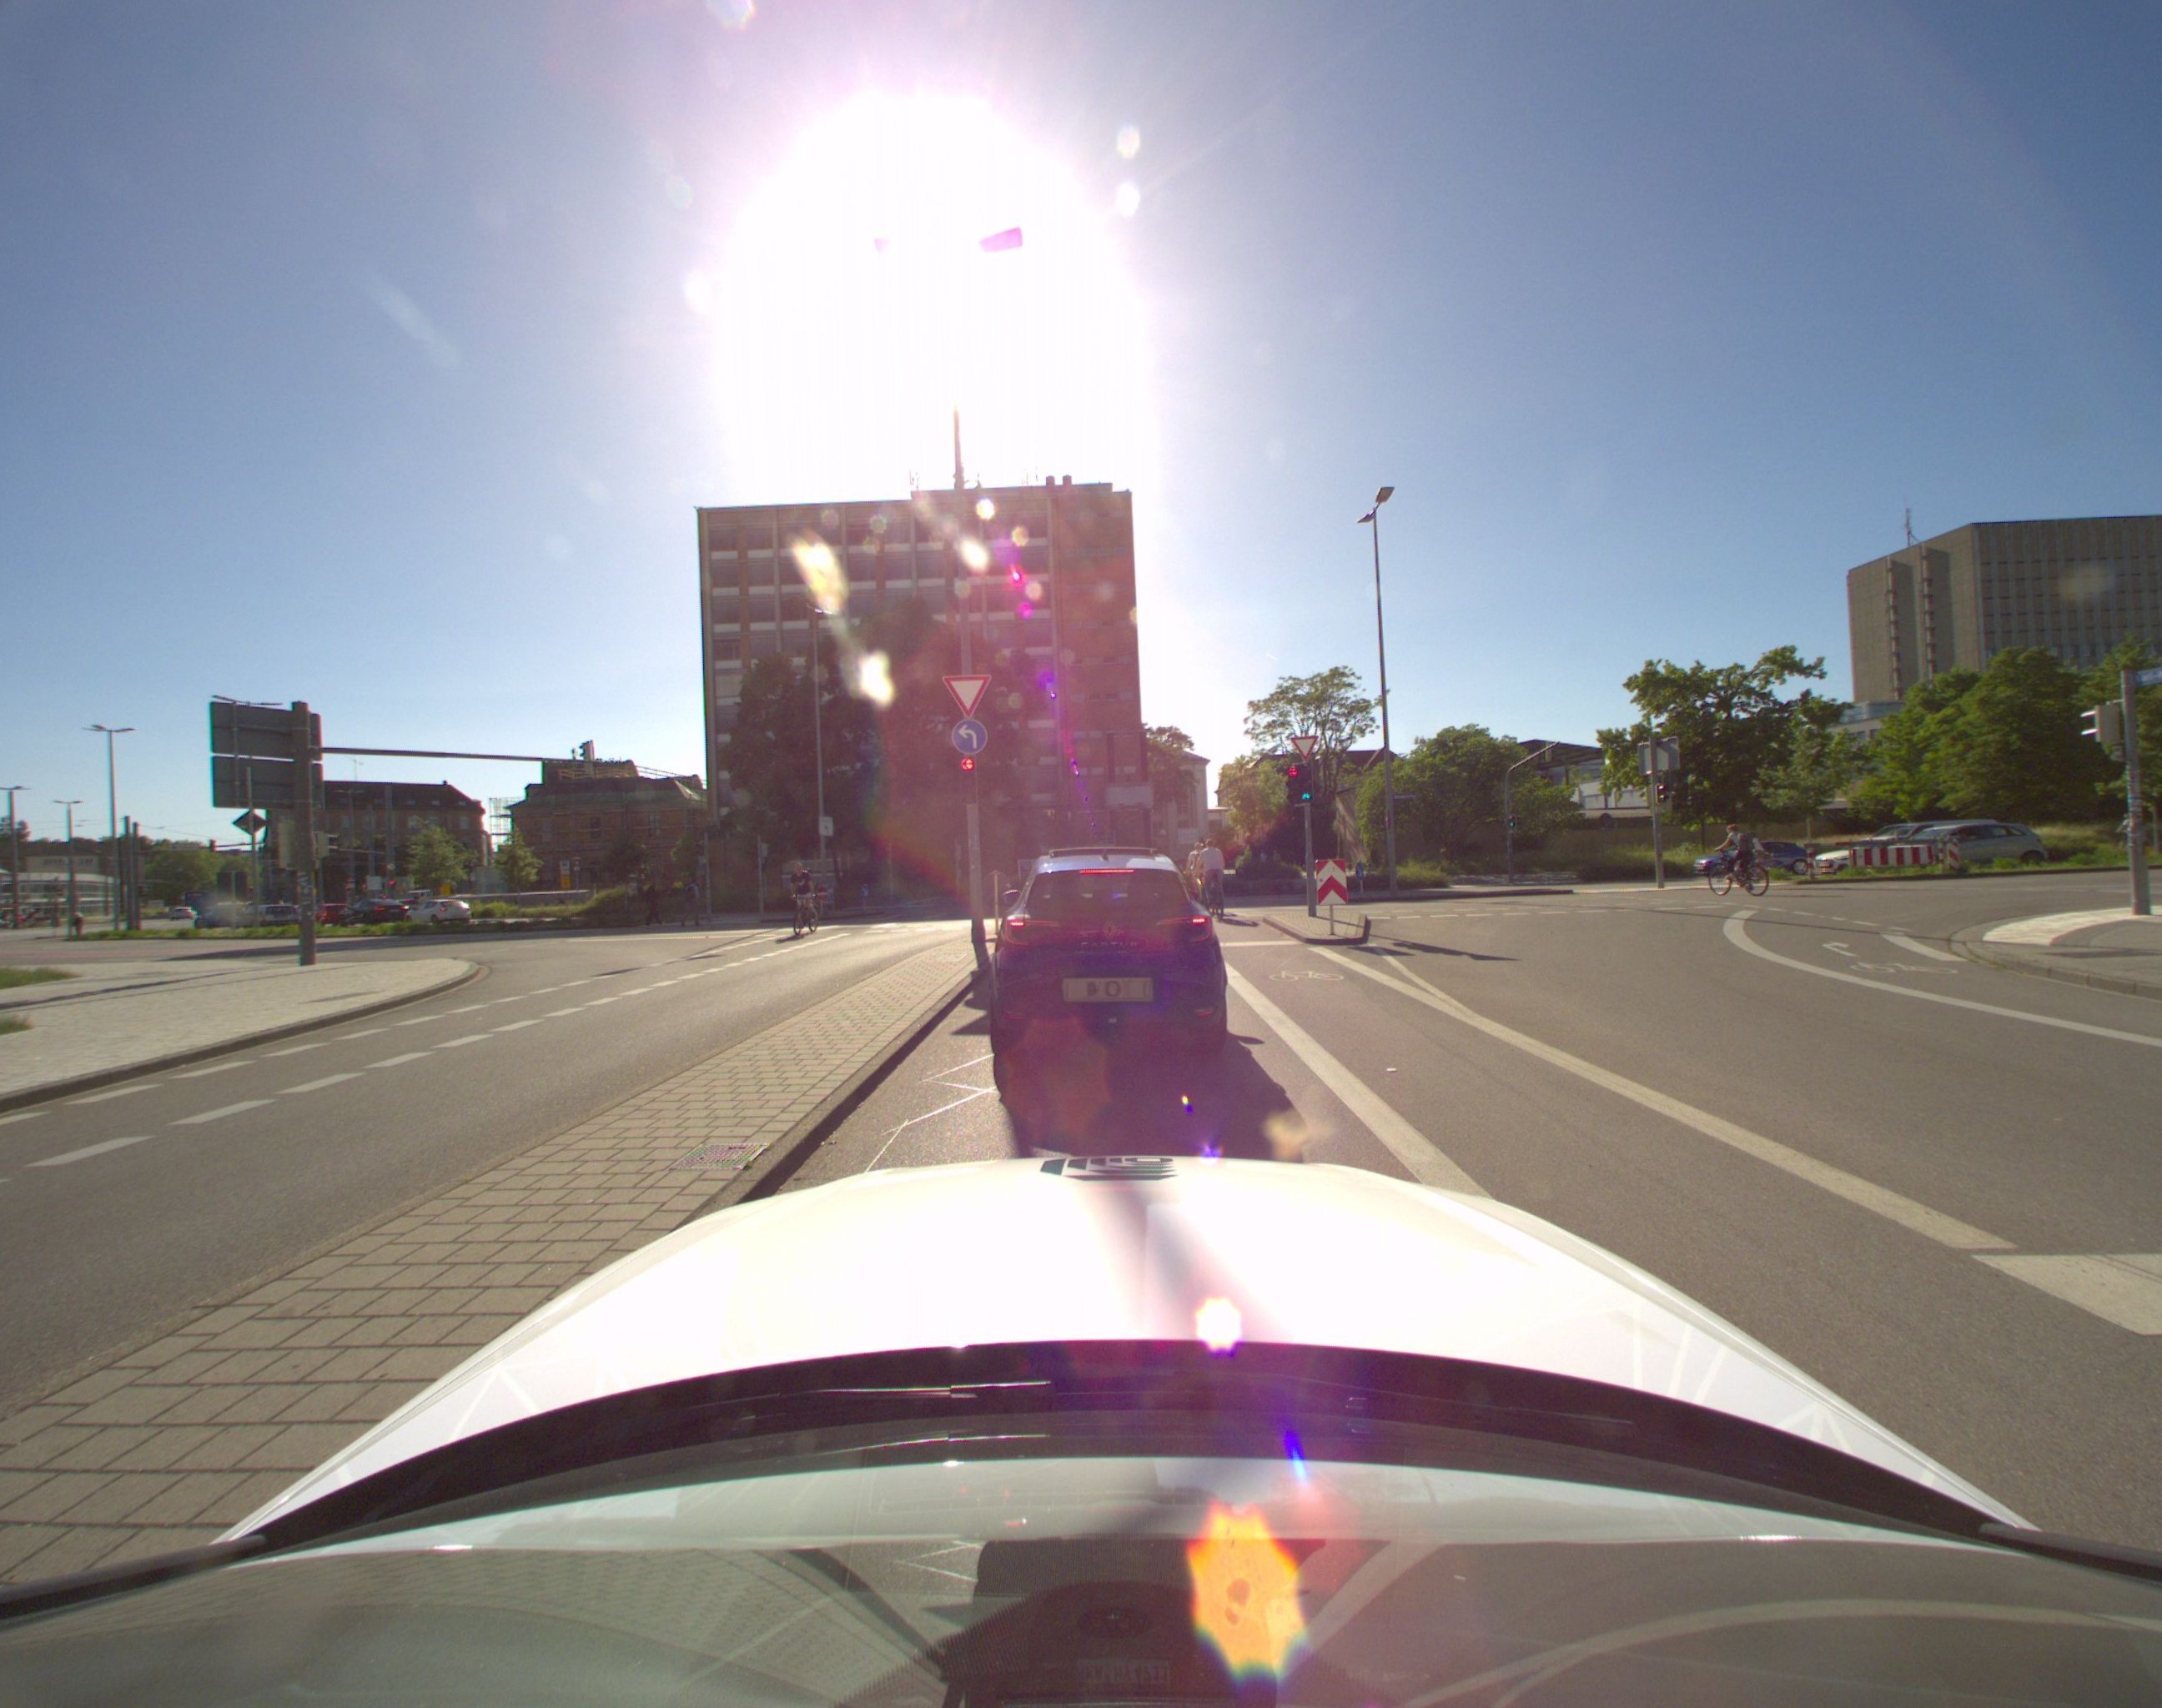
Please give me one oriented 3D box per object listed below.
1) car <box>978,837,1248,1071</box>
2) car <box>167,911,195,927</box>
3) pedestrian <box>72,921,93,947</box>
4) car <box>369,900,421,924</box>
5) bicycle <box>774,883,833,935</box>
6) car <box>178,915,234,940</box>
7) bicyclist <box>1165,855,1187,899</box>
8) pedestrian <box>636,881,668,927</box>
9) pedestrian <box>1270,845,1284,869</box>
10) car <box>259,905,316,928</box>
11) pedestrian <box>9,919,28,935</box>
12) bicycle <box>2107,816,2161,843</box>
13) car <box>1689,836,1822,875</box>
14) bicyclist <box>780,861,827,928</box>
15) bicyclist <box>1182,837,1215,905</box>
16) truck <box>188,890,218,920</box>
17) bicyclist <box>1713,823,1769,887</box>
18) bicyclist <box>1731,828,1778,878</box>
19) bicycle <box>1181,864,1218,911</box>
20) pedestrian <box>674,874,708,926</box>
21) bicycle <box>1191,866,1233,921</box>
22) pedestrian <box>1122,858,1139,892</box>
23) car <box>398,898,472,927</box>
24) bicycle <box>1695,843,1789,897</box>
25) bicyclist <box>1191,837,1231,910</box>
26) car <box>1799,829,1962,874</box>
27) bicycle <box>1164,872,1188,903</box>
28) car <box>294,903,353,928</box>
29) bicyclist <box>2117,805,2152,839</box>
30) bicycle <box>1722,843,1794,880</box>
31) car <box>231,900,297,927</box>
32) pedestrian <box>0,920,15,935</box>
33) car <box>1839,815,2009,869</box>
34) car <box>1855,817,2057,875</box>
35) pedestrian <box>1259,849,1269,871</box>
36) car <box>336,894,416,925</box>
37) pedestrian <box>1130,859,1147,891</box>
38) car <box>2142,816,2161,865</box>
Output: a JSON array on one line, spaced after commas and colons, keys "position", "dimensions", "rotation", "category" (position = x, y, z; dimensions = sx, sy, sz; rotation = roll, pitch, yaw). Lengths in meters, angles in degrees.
[{"position": [0.280, 0.702, 7.546], "dimensions": [1.870, 1.617, 3.799], "rotation": [0, 0, 2], "category": "car"}, {"position": [-100.308, 7.264, 90.820], "dimensions": [1.797, 1.544, 3.596], "rotation": [0, -1, -43], "category": "car"}, {"position": [-63.032, 5.045, 51.414], "dimensions": [0.565, 1.611, 0.573], "rotation": [0, -1, 1], "category": "pedestrian"}, {"position": [-50.399, 4.284, 59.831], "dimensions": [3.578, 1.618, 1.894], "rotation": [-4, -3, 31], "category": "car"}, {"position": [-6.971, 1.363, 20.562], "dimensions": [0.743, 1.165, 1.871], "rotation": [-4, -1, 2], "category": "bicycle"}, {"position": [-55.187, 4.642, 51.376], "dimensions": [3.859, 1.443, 1.741], "rotation": [-3, -3, 33], "category": "car"}, {"position": [3.800, 0.908, 32.734], "dimensions": [0.717, 1.735, 0.978], "rotation": [-2, -1, 1], "category": "bicyclist"}, {"position": [-15.638, 1.831, 29.678], "dimensions": [0.711, 1.612, 0.685], "rotation": [-3, -1, 18], "category": "pedestrian"}, {"position": [13.767, 0.203, 57.112], "dimensions": [0.669, 1.643, 0.740], "rotation": [-1, -1, 41], "category": "pedestrian"}, {"position": [-53.602, 4.225, 55.014], "dimensions": [3.750, 1.443, 1.741], "rotation": [-3, -3, 29], "category": "car"}, {"position": [-101.985, 6.985, 78.163], "dimensions": [0.689, 1.408, 0.865], "rotation": [0, -1, 0], "category": "pedestrian"}, {"position": [50.432, -1.162, 38.926], "dimensions": [1.944, 1.165, 0.643], "rotation": [-4, 2, 0], "category": "bicycle"}, {"position": [28.165, 0.077, 34.089], "dimensions": [3.967, 1.442, 1.707], "rotation": [-2, -2, 5], "category": "car"}, {"position": [-6.990, 0.999, 20.540], "dimensions": [0.717, 1.621, 0.978], "rotation": [-4, -1, 1], "category": "bicyclist"}, {"position": [3.182, 0.453, 22.149], "dimensions": [0.717, 1.763, 0.978], "rotation": [-2, -1, 1], "category": "bicyclist"}, {"position": [-118.942, 6.859, 110.301], "dimensions": [5.159, 3.675, 2.618], "rotation": [-1, -1, 42], "category": "truck"}, {"position": [15.563, 0.009, 19.225], "dimensions": [0.639, 1.444, 0.776], "rotation": [-3, 1, -1], "category": "bicyclist"}, {"position": [24.013, -0.038, 29.047], "dimensions": [0.970, 1.685, 0.747], "rotation": [-4, -1, 3], "category": "bicyclist"}, {"position": [3.201, 0.887, 22.083], "dimensions": [0.743, 1.165, 1.871], "rotation": [-2, 0, 2], "category": "bicycle"}, {"position": [-14.319, 1.673, 29.931], "dimensions": [0.753, 1.833, 1.093], "rotation": [-2, -2, -6], "category": "pedestrian"}, {"position": [3.032, 0.886, 19.017], "dimensions": [0.713, 1.165, 1.871], "rotation": [-2, 0, 2], "category": "bicycle"}, {"position": [2.676, 1.129, 43.742], "dimensions": [0.727, 1.816, 0.735], "rotation": [-1, -1, 19], "category": "pedestrian"}, {"position": [-36.408, 3.308, 45.878], "dimensions": [3.690, 1.436, 1.706], "rotation": [-3, -1, 24], "category": "car"}, {"position": [15.579, 0.342, 19.255], "dimensions": [0.639, 1.165, 1.869], "rotation": [-3, 1, -2], "category": "bicycle"}, {"position": [3.015, 0.444, 18.969], "dimensions": [0.717, 1.617, 0.978], "rotation": [-2, -1, 1], "category": "bicyclist"}, {"position": [30.338, -0.087, 31.046], "dimensions": [3.962, 1.469, 2.005], "rotation": [-3, -1, 10], "category": "car"}, {"position": [3.816, 1.323, 32.758], "dimensions": [0.743, 1.165, 1.871], "rotation": [-2, 0, 2], "category": "bicycle"}, {"position": [-48.133, 3.900, 51.715], "dimensions": [3.674, 1.443, 1.687], "rotation": [-3, -3, 29], "category": "car"}, {"position": [50.353, -1.523, 38.912], "dimensions": [0.827, 1.595, 0.631], "rotation": [-4, 2, 0], "category": "bicyclist"}, {"position": [24.128, 0.265, 29.039], "dimensions": [1.856, 1.165, 0.749], "rotation": [-4, -1, 3], "category": "bicycle"}, {"position": [-48.910, 3.576, 48.770], "dimensions": [3.750, 1.442, 1.741], "rotation": [-3, -1, 28], "category": "car"}, {"position": [-102.004, 6.977, 77.181], "dimensions": [0.689, 1.408, 0.865], "rotation": [0, -1, 0], "category": "pedestrian"}, {"position": [34.827, -0.451, 33.761], "dimensions": [4.718, 1.953, 1.942], "rotation": [-2, -2, 5], "category": "car"}, {"position": [28.025, -0.208, 26.202], "dimensions": [4.281, 1.625, 1.792], "rotation": [-2, -2, 5], "category": "car"}, {"position": [13.637, 0.439, 60.657], "dimensions": [0.670, 1.643, 0.739], "rotation": [-1, -1, 16], "category": "pedestrian"}, {"position": [-42.579, 3.359, 49.184], "dimensions": [4.324, 1.624, 2.002], "rotation": [-3, -1, 24], "category": "car"}, {"position": [3.155, 1.145, 44.721], "dimensions": [0.727, 1.782, 0.735], "rotation": [-1, -1, 19], "category": "pedestrian"}, {"position": [36.872, -0.553, 25.361], "dimensions": [4.685, 1.554, 1.987], "rotation": [-2, -2, 5], "category": "car"}]
